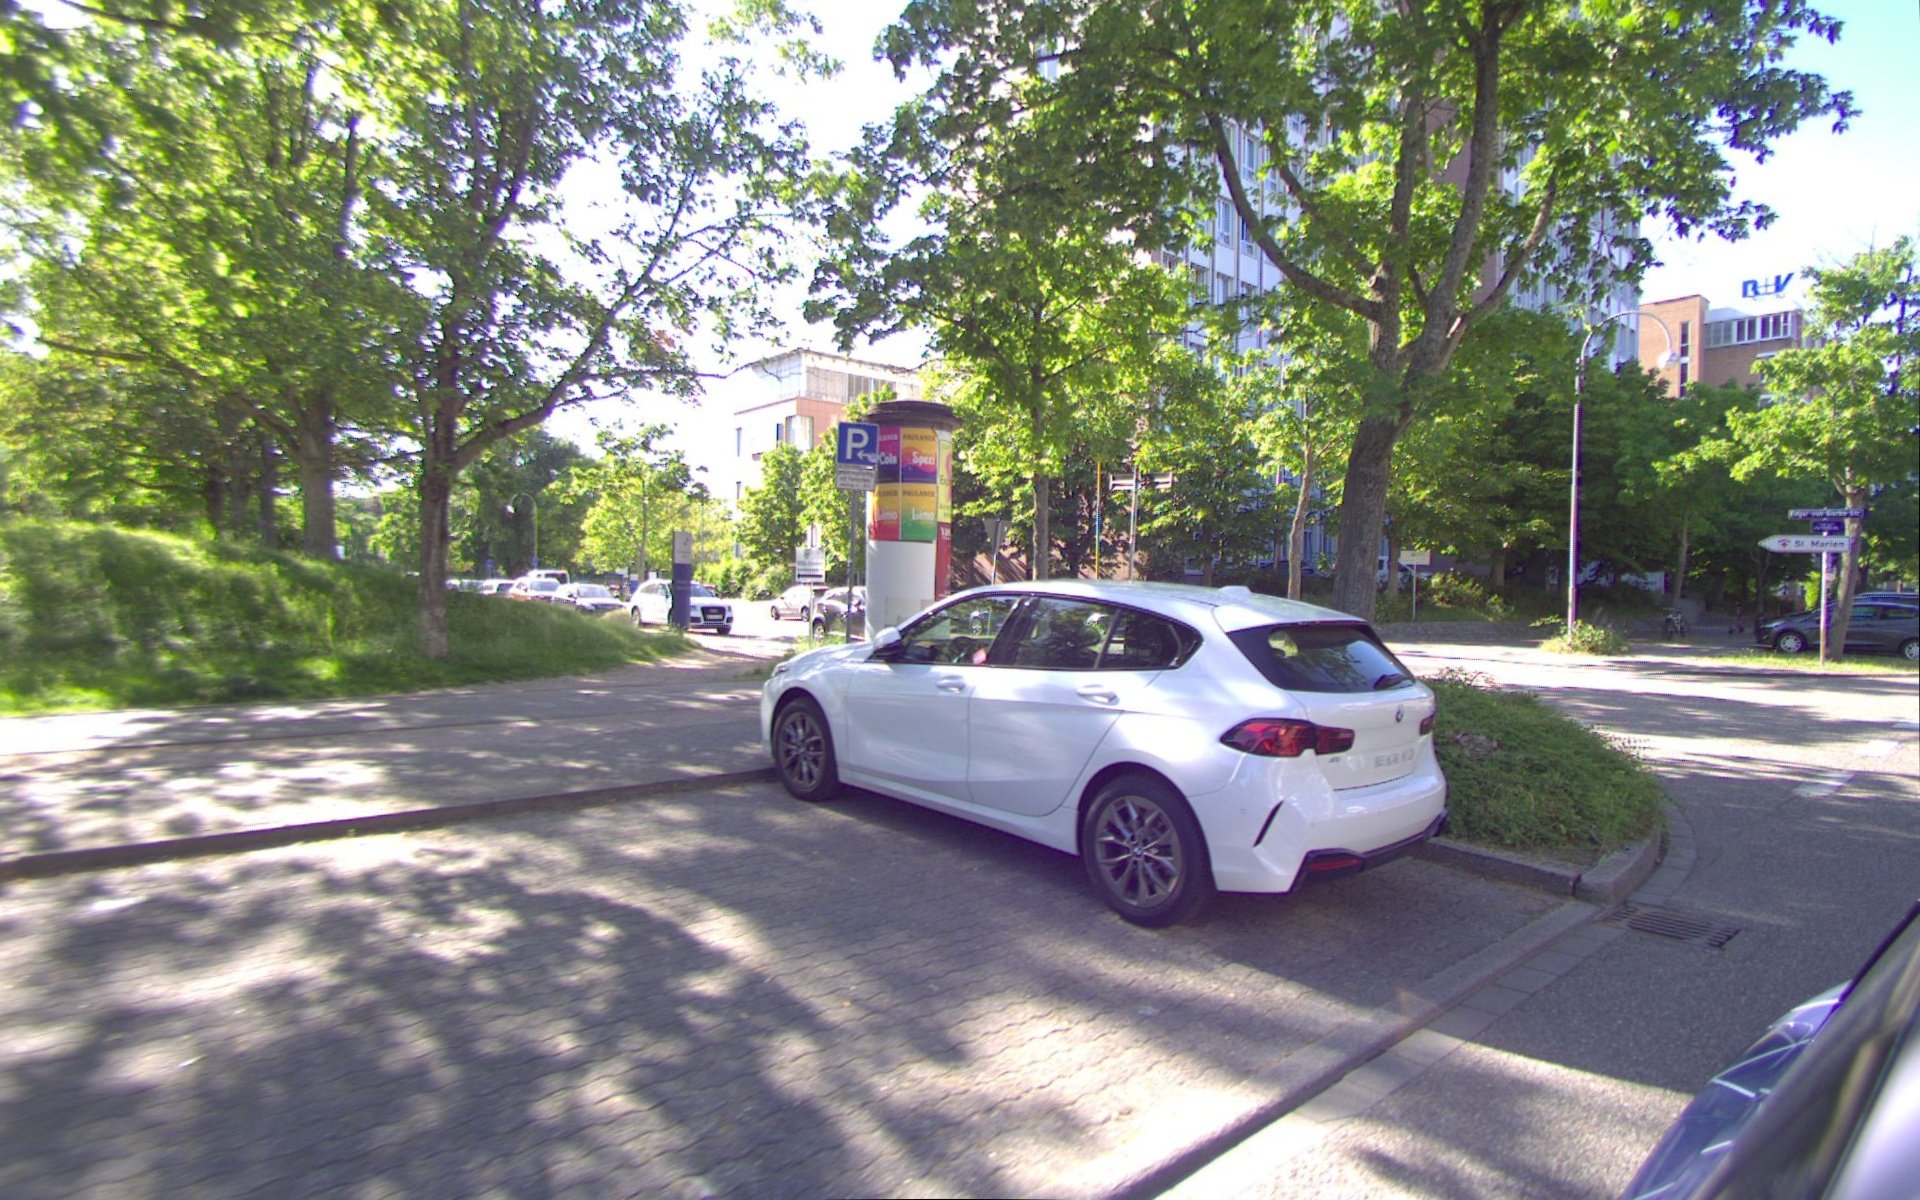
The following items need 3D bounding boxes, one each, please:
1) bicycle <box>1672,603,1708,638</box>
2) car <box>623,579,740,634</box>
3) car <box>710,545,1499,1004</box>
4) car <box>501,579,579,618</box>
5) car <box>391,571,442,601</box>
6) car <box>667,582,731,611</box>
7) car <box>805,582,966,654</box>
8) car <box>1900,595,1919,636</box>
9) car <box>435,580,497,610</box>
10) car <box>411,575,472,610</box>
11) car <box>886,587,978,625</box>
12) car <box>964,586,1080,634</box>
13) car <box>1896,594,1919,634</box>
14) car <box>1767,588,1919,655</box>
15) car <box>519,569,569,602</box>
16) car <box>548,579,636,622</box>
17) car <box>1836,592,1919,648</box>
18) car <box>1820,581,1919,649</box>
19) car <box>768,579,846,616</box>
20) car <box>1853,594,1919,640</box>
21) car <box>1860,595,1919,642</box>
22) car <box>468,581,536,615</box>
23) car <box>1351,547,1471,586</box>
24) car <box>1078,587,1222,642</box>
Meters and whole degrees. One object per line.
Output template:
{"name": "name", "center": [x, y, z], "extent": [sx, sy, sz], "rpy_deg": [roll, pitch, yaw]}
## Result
{"name": "bicycle", "center": [21.611, 0.602, 29.934], "extent": [1.921, 1.006, 0.303], "rpy_deg": [0, 0, -37]}
{"name": "car", "center": [-8.875, 0.163, 32.022], "extent": [1.803, 1.639, 4.451], "rpy_deg": [0, 1, -41]}
{"name": "car", "center": [0.453, 0.555, 5.972], "extent": [1.806, 1.612, 4.434], "rpy_deg": [0, 3, -43]}
{"name": "car", "center": [-17.540, -0.081, 42.166], "extent": [1.803, 1.563, 4.012], "rpy_deg": [0, 1, -41]}
{"name": "car", "center": [-31.489, -0.813, 58.562], "extent": [1.734, 1.634, 3.993], "rpy_deg": [0, 1, -41]}
{"name": "car", "center": [-13.738, -0.207, 53.103], "extent": [1.737, 1.442, 3.867], "rpy_deg": [0, 1, -41]}
{"name": "car", "center": [-1.860, 0.375, 24.309], "extent": [1.803, 1.550, 3.993], "rpy_deg": [1, 1, -41]}
{"name": "car", "center": [37.791, 0.635, 37.938], "extent": [1.694, 1.525, 3.579], "rpy_deg": [0, 3, -41]}
{"name": "car", "center": [-25.049, -0.260, 51.259], "extent": [1.888, 1.464, 3.993], "rpy_deg": [0, 1, -41]}
{"name": "car", "center": [-28.493, -0.423, 55.591], "extent": [1.965, 1.822, 4.443], "rpy_deg": [0, 1, -41]}
{"name": "car", "center": [-1.058, 0.182, 37.313], "extent": [1.525, 1.321, 3.497], "rpy_deg": [0, 1, -41]}
{"name": "car", "center": [1.985, 0.279, 33.407], "extent": [1.621, 1.487, 3.851], "rpy_deg": [0, 1, -41]}
{"name": "car", "center": [39.637, 0.582, 39.873], "extent": [1.656, 1.569, 3.975], "rpy_deg": [0, 1, -44]}
{"name": "car", "center": [23.747, 0.587, 26.490], "extent": [1.565, 1.464, 3.841], "rpy_deg": [3, 3, -43]}
{"name": "car", "center": [-28.866, -0.970, 70.154], "extent": [1.966, 2.208, 3.992], "rpy_deg": [0, 0, -42]}
{"name": "car", "center": [-13.873, 0.001, 38.063], "extent": [1.803, 1.520, 4.012], "rpy_deg": [0, 1, -41]}
{"name": "car", "center": [29.013, 0.618, 30.446], "extent": [1.780, 1.584, 3.873], "rpy_deg": [0, 3, -45]}
{"name": "car", "center": [26.133, 0.415, 27.688], "extent": [1.693, 1.772, 3.683], "rpy_deg": [0, 2, -38]}
{"name": "car", "center": [-6.678, -0.118, 43.936], "extent": [1.680, 1.512, 3.767], "rpy_deg": [0, 1, -40]}
{"name": "car", "center": [34.627, 0.623, 35.776], "extent": [1.827, 1.573, 4.427], "rpy_deg": [0, 1, -41]}
{"name": "car", "center": [32.666, 0.656, 33.767], "extent": [1.694, 1.499, 3.718], "rpy_deg": [0, 3, -41]}
{"name": "car", "center": [-21.201, -0.097, 46.800], "extent": [1.803, 1.495, 4.012], "rpy_deg": [0, 1, -41]}
{"name": "car", "center": [20.866, -1.536, 46.949], "extent": [1.845, 1.707, 4.720], "rpy_deg": [0, 1, -44]}
{"name": "car", "center": [5.520, 0.375, 29.753], "extent": [1.738, 1.466, 3.995], "rpy_deg": [-1, 1, -39]}
